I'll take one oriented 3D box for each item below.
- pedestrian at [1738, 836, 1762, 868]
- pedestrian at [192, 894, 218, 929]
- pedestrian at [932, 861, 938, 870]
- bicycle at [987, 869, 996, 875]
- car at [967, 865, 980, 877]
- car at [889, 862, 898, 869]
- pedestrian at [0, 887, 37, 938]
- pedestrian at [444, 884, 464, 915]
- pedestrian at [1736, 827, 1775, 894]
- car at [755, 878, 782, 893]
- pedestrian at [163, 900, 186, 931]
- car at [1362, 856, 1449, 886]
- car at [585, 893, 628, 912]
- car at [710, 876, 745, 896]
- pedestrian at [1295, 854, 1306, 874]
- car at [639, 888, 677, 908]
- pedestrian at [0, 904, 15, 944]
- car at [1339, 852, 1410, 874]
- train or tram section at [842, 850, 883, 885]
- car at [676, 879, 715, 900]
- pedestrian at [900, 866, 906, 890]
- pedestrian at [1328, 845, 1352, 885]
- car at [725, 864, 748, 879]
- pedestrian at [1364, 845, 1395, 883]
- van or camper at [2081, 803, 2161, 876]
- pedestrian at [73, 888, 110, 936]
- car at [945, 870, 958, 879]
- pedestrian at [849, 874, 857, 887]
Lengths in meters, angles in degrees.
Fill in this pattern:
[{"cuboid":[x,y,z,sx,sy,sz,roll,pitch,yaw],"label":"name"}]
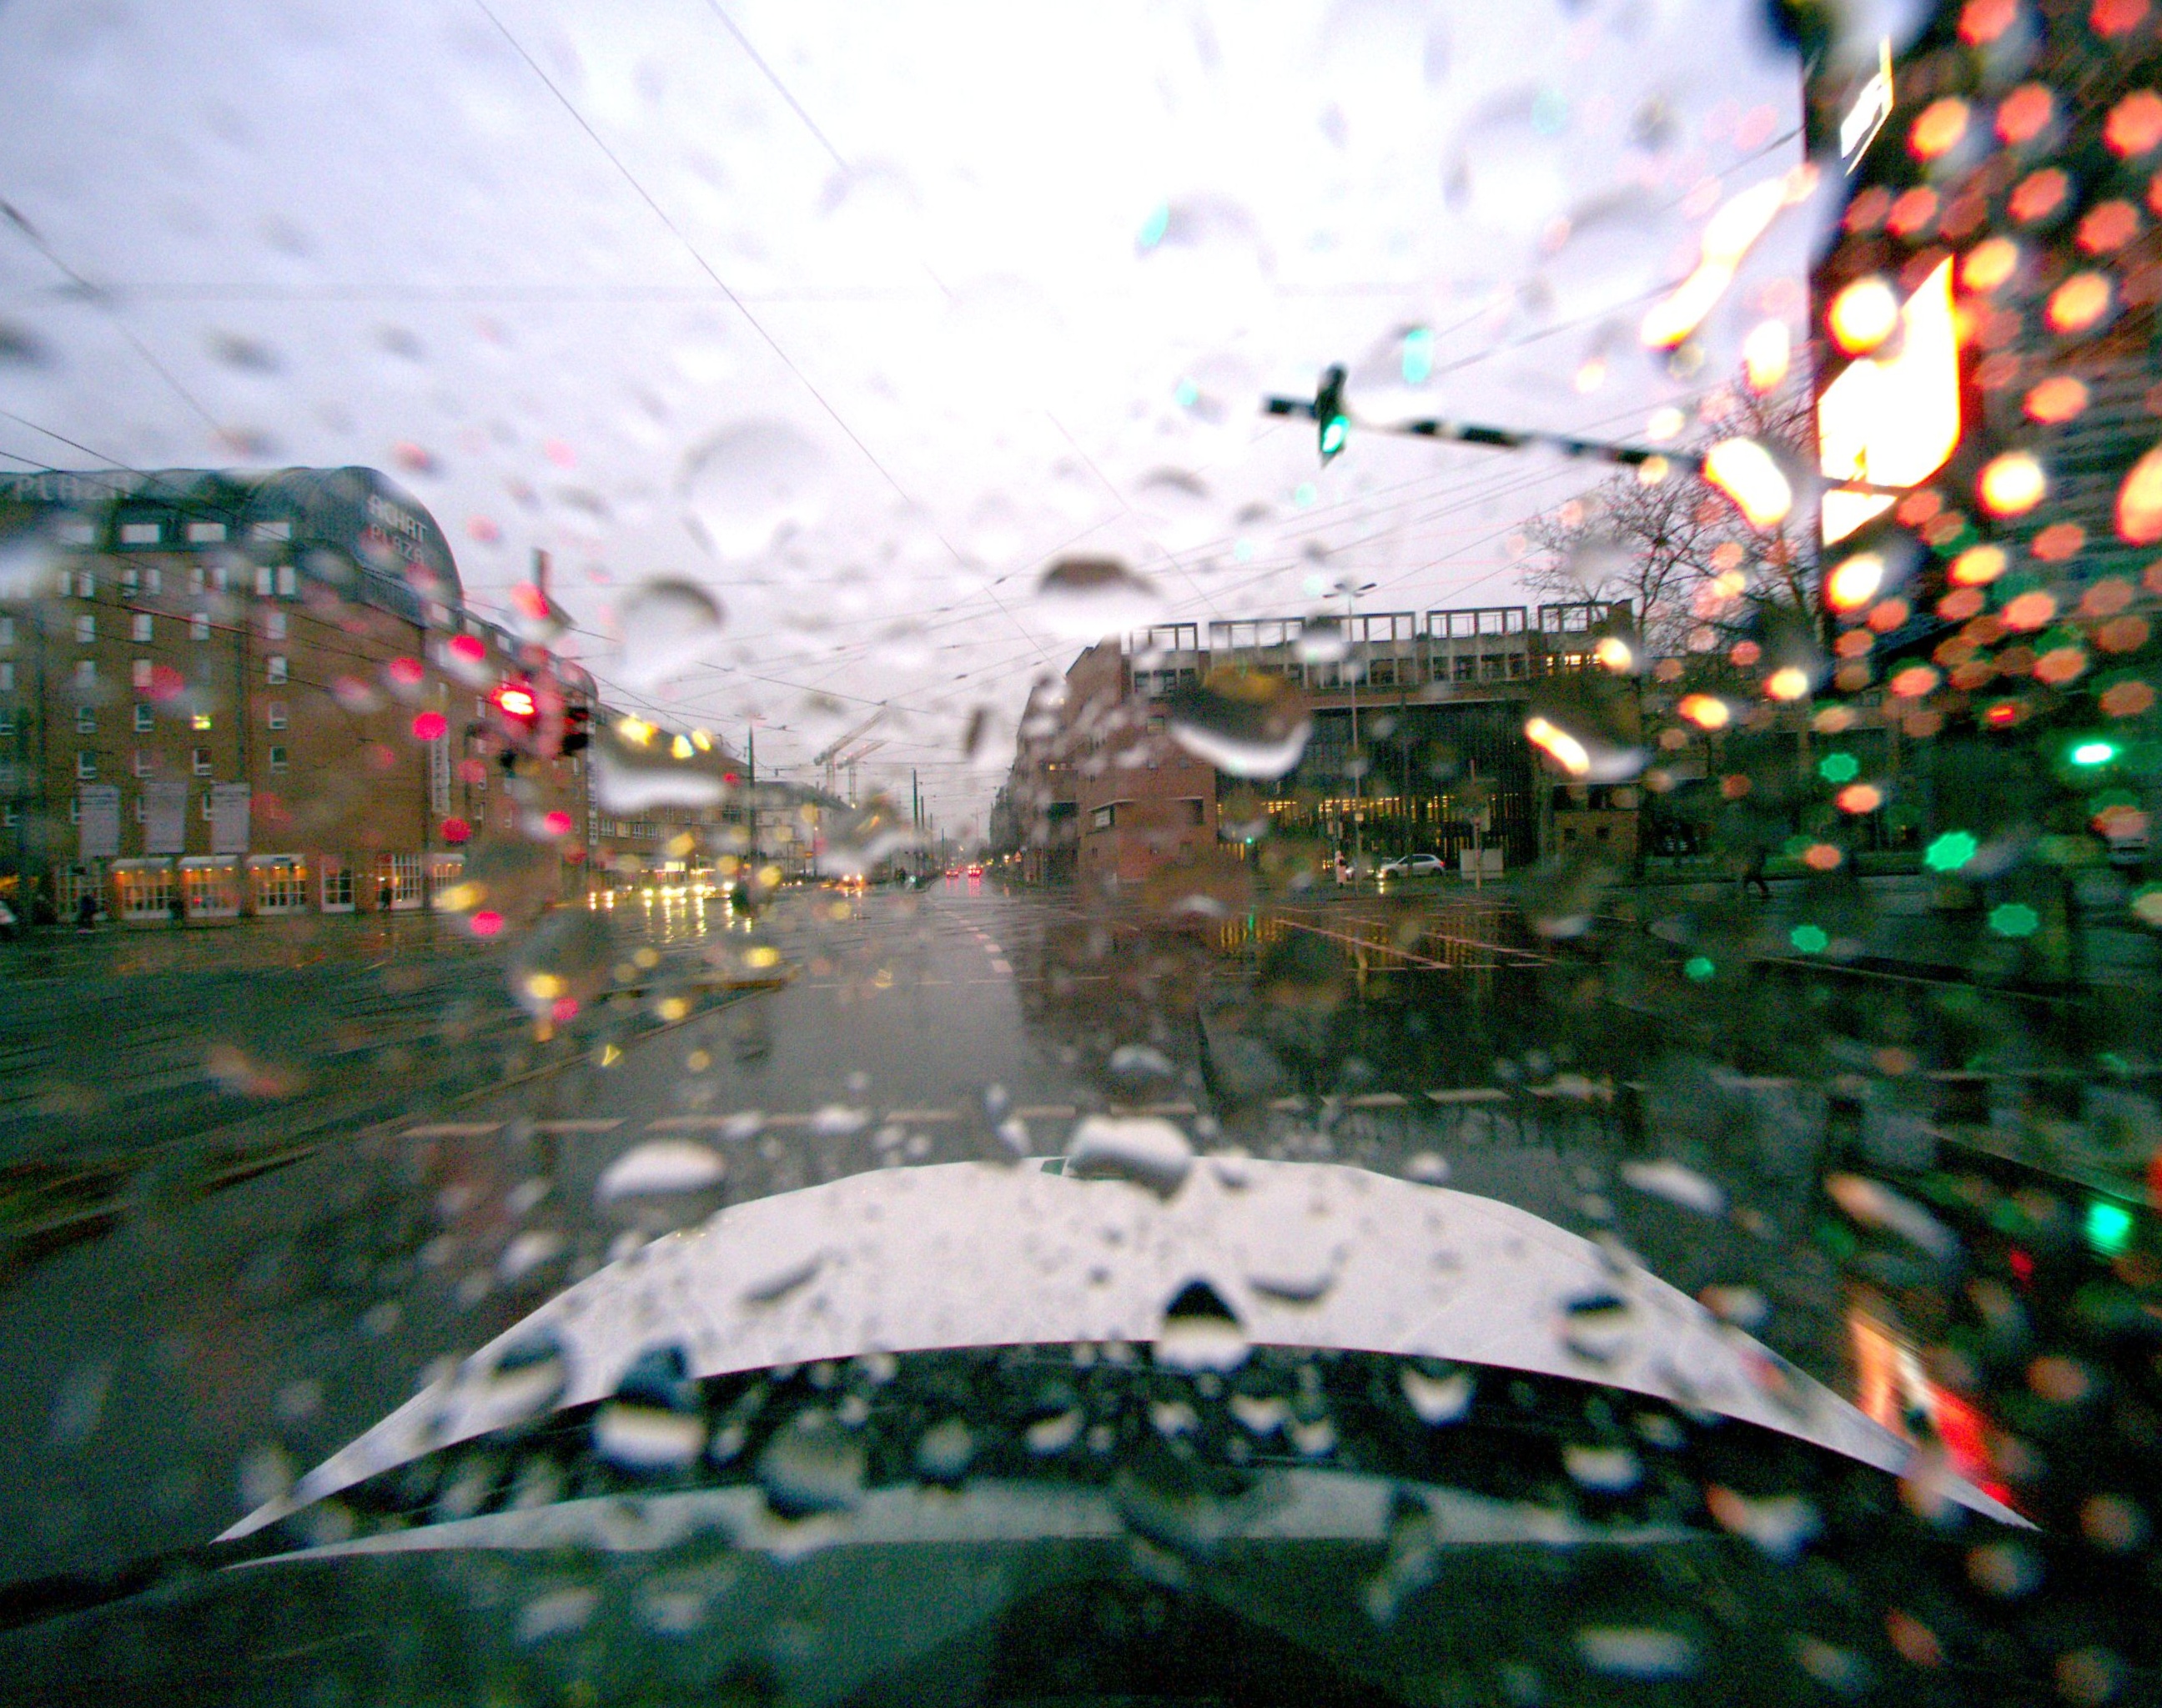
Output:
[{"cuboid":[29.597,-0.084,36.044,0.603,1.364,0.478,-2,-1,0],"label":"pedestrian"},{"cuboid":[-39.759,2.621,36.974,0.515,1.538,0.577,-2,-1,10],"label":"pedestrian"},{"cuboid":[-22.561,1.778,125.934,0.682,1.516,0.614,-1,-1,-21],"label":"pedestrian"},{"cuboid":[-16.527,3.268,150.274,1.730,1.055,0.370,-3,-1,-10],"label":"bicycle"},{"cuboid":[-18.844,3.045,142.776,1.991,2.014,3.991,-2,-1,-6],"label":"car"},{"cuboid":[-40.129,2.452,174.653,1.681,1.354,3.534,-1,-1,-9],"label":"car"},{"cuboid":[-43.196,2.379,33.089,0.699,2.014,0.763,-2,-1,17],"label":"pedestrian"},{"cuboid":[-41.826,3.017,54.367,0.939,2.014,0.751,-1,-1,-32],"label":"pedestrian"},{"cuboid":[18.643,0.186,22.502,0.805,1.811,0.643,-1,-1,-42],"label":"pedestrian"},{"cuboid":[-29.971,2.987,78.256,1.681,1.354,3.534,-1,-1,-9],"label":"car"},{"cuboid":[-45.869,3.121,41.209,0.515,1.538,0.577,-2,-1,10],"label":"pedestrian"},{"cuboid":[17.549,0.930,44.124,3.976,1.341,1.811,-3,-1,-6],"label":"car"},{"cuboid":[-39.965,4.048,68.742,1.610,1.321,4.217,-2,-1,-8],"label":"car"},{"cuboid":[-33.209,2.975,76.578,1.828,1.709,4.691,-2,-1,-9],"label":"car"},{"cuboid":[16.042,0.738,59.585,0.732,1.389,0.740,-2,-1,13],"label":"pedestrian"},{"cuboid":[-35.275,3.649,68.032,1.580,1.495,3.586,-2,-1,-7],"label":"car"},{"cuboid":[-42.326,2.730,31.854,0.515,1.538,0.577,-2,-1,10],"label":"pedestrian"},{"cuboid":[19.177,0.605,53.345,3.977,1.310,1.810,-2,-1,-7],"label":"car"},{"cuboid":[-24.501,1.508,91.877,2.948,3.589,12.221,0,-1,-8],"label":"train or tram section"},{"cuboid":[-32.188,2.945,68.168,1.667,1.495,4.190,-2,-1,-7],"label":"car"},{"cuboid":[-14.011,1.859,64.043,0.412,1.845,0.666,-1,-1,-13],"label":"pedestrian"},{"cuboid":[12.067,0.507,37.925,0.734,1.787,0.732,-2,-1,-12],"label":"pedestrian"},{"cuboid":[-47.482,2.365,112.239,1.993,2.014,3.988,0,-1,-8],"label":"car"},{"cuboid":[14.675,0.502,40.038,1.148,1.787,0.775,-2,-1,-8],"label":"pedestrian"},{"cuboid":[30.907,-0.431,22.559,4.729,1.929,1.836,-1,-1,-8],"label":"van or camper"},{"cuboid":[-43.493,2.534,35.797,0.702,2.014,0.759,-2,-1,2],"label":"pedestrian"},{"cuboid":[-20.803,3.287,130.901,1.782,1.467,3.141,-2,-1,-6],"label":"car"},{"cuboid":[-21.110,2.436,75.409,0.579,1.153,0.489,0,-1,-7],"label":"pedestrian"}]
